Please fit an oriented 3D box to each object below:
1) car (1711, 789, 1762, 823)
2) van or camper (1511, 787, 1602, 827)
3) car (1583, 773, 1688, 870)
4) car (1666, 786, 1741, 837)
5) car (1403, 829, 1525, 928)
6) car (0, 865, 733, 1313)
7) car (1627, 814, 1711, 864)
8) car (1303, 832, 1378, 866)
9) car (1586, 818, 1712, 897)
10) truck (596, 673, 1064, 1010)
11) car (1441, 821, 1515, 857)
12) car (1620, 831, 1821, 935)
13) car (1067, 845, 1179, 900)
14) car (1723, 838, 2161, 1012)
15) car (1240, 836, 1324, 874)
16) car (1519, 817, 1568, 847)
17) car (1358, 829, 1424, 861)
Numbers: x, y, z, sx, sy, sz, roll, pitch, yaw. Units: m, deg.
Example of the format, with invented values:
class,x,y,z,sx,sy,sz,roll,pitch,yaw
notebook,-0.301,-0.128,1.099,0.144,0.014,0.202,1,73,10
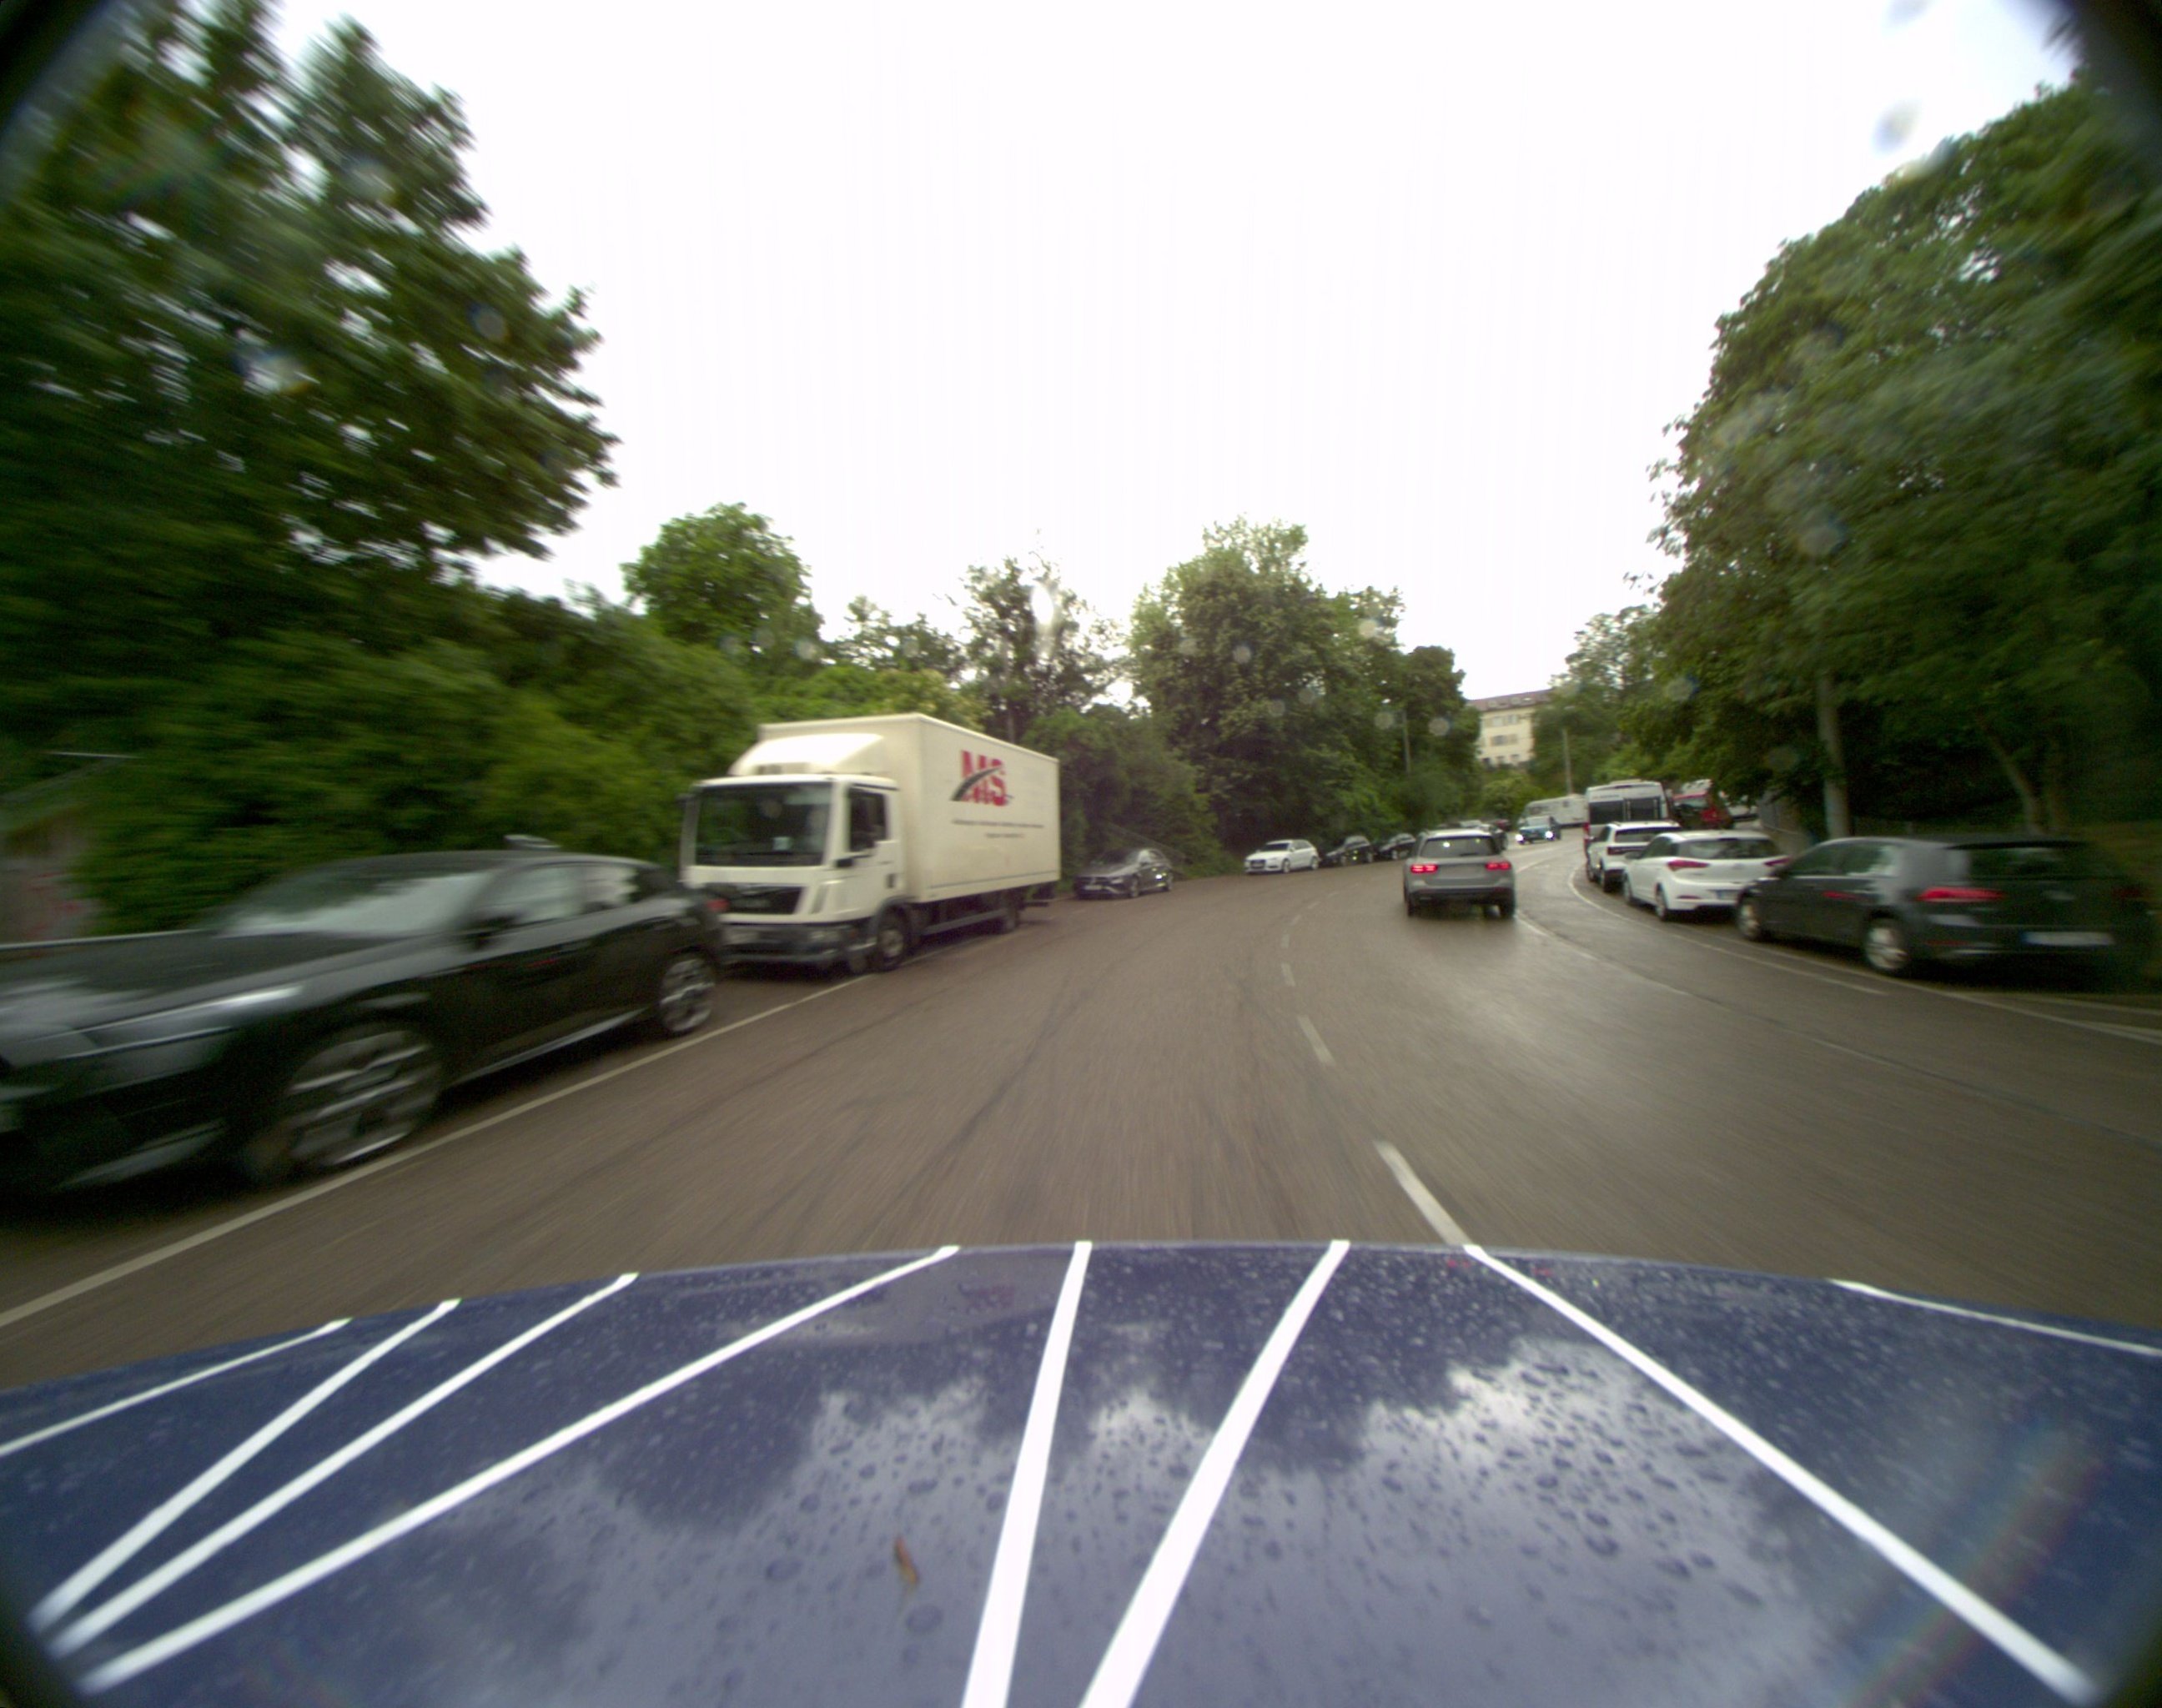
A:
class,x,y,z,sx,sy,sz,roll,pitch,yaw
car,34.429,-2.523,39.882,1.740,1.470,4.205,-9,-2,43
van or camper,43.445,-4.198,69.734,2.458,2.950,7.520,-6,0,-10
car,17.317,-1.098,23.559,2.075,2.535,6.356,-4,2,40
car,26.283,-1.829,32.052,4.143,1.758,1.752,-7,1,-42
car,7.590,0.378,15.433,1.819,1.660,4.314,-1,2,22
car,-4.279,0.908,4.993,1.722,1.547,4.278,-1,1,4
car,22.065,-0.624,28.453,1.994,1.611,4.404,2,5,44
car,12.721,-0.250,37.188,3.976,1.415,1.661,-3,-1,-42
car,13.317,0.011,18.057,1.805,1.574,4.030,-2,3,28
truck,-2.963,-0.208,12.412,3.011,3.554,8.344,-1,1,15
car,20.152,-0.774,38.522,4.508,1.530,1.895,-4,-1,-44
car,10.974,0.396,13.383,1.753,1.448,4.053,-1,2,26
car,1.384,0.504,23.112,1.722,1.436,4.131,-2,1,28
car,9.403,0.601,8.663,1.775,1.435,4.020,-2,2,18
car,8.925,0.024,33.591,1.756,1.392,4.103,-5,-1,43
car,28.236,-1.353,46.346,1.994,1.660,4.539,-2,0,38
car,16.838,-0.505,41.209,3.828,1.381,1.592,-4,-3,-40
